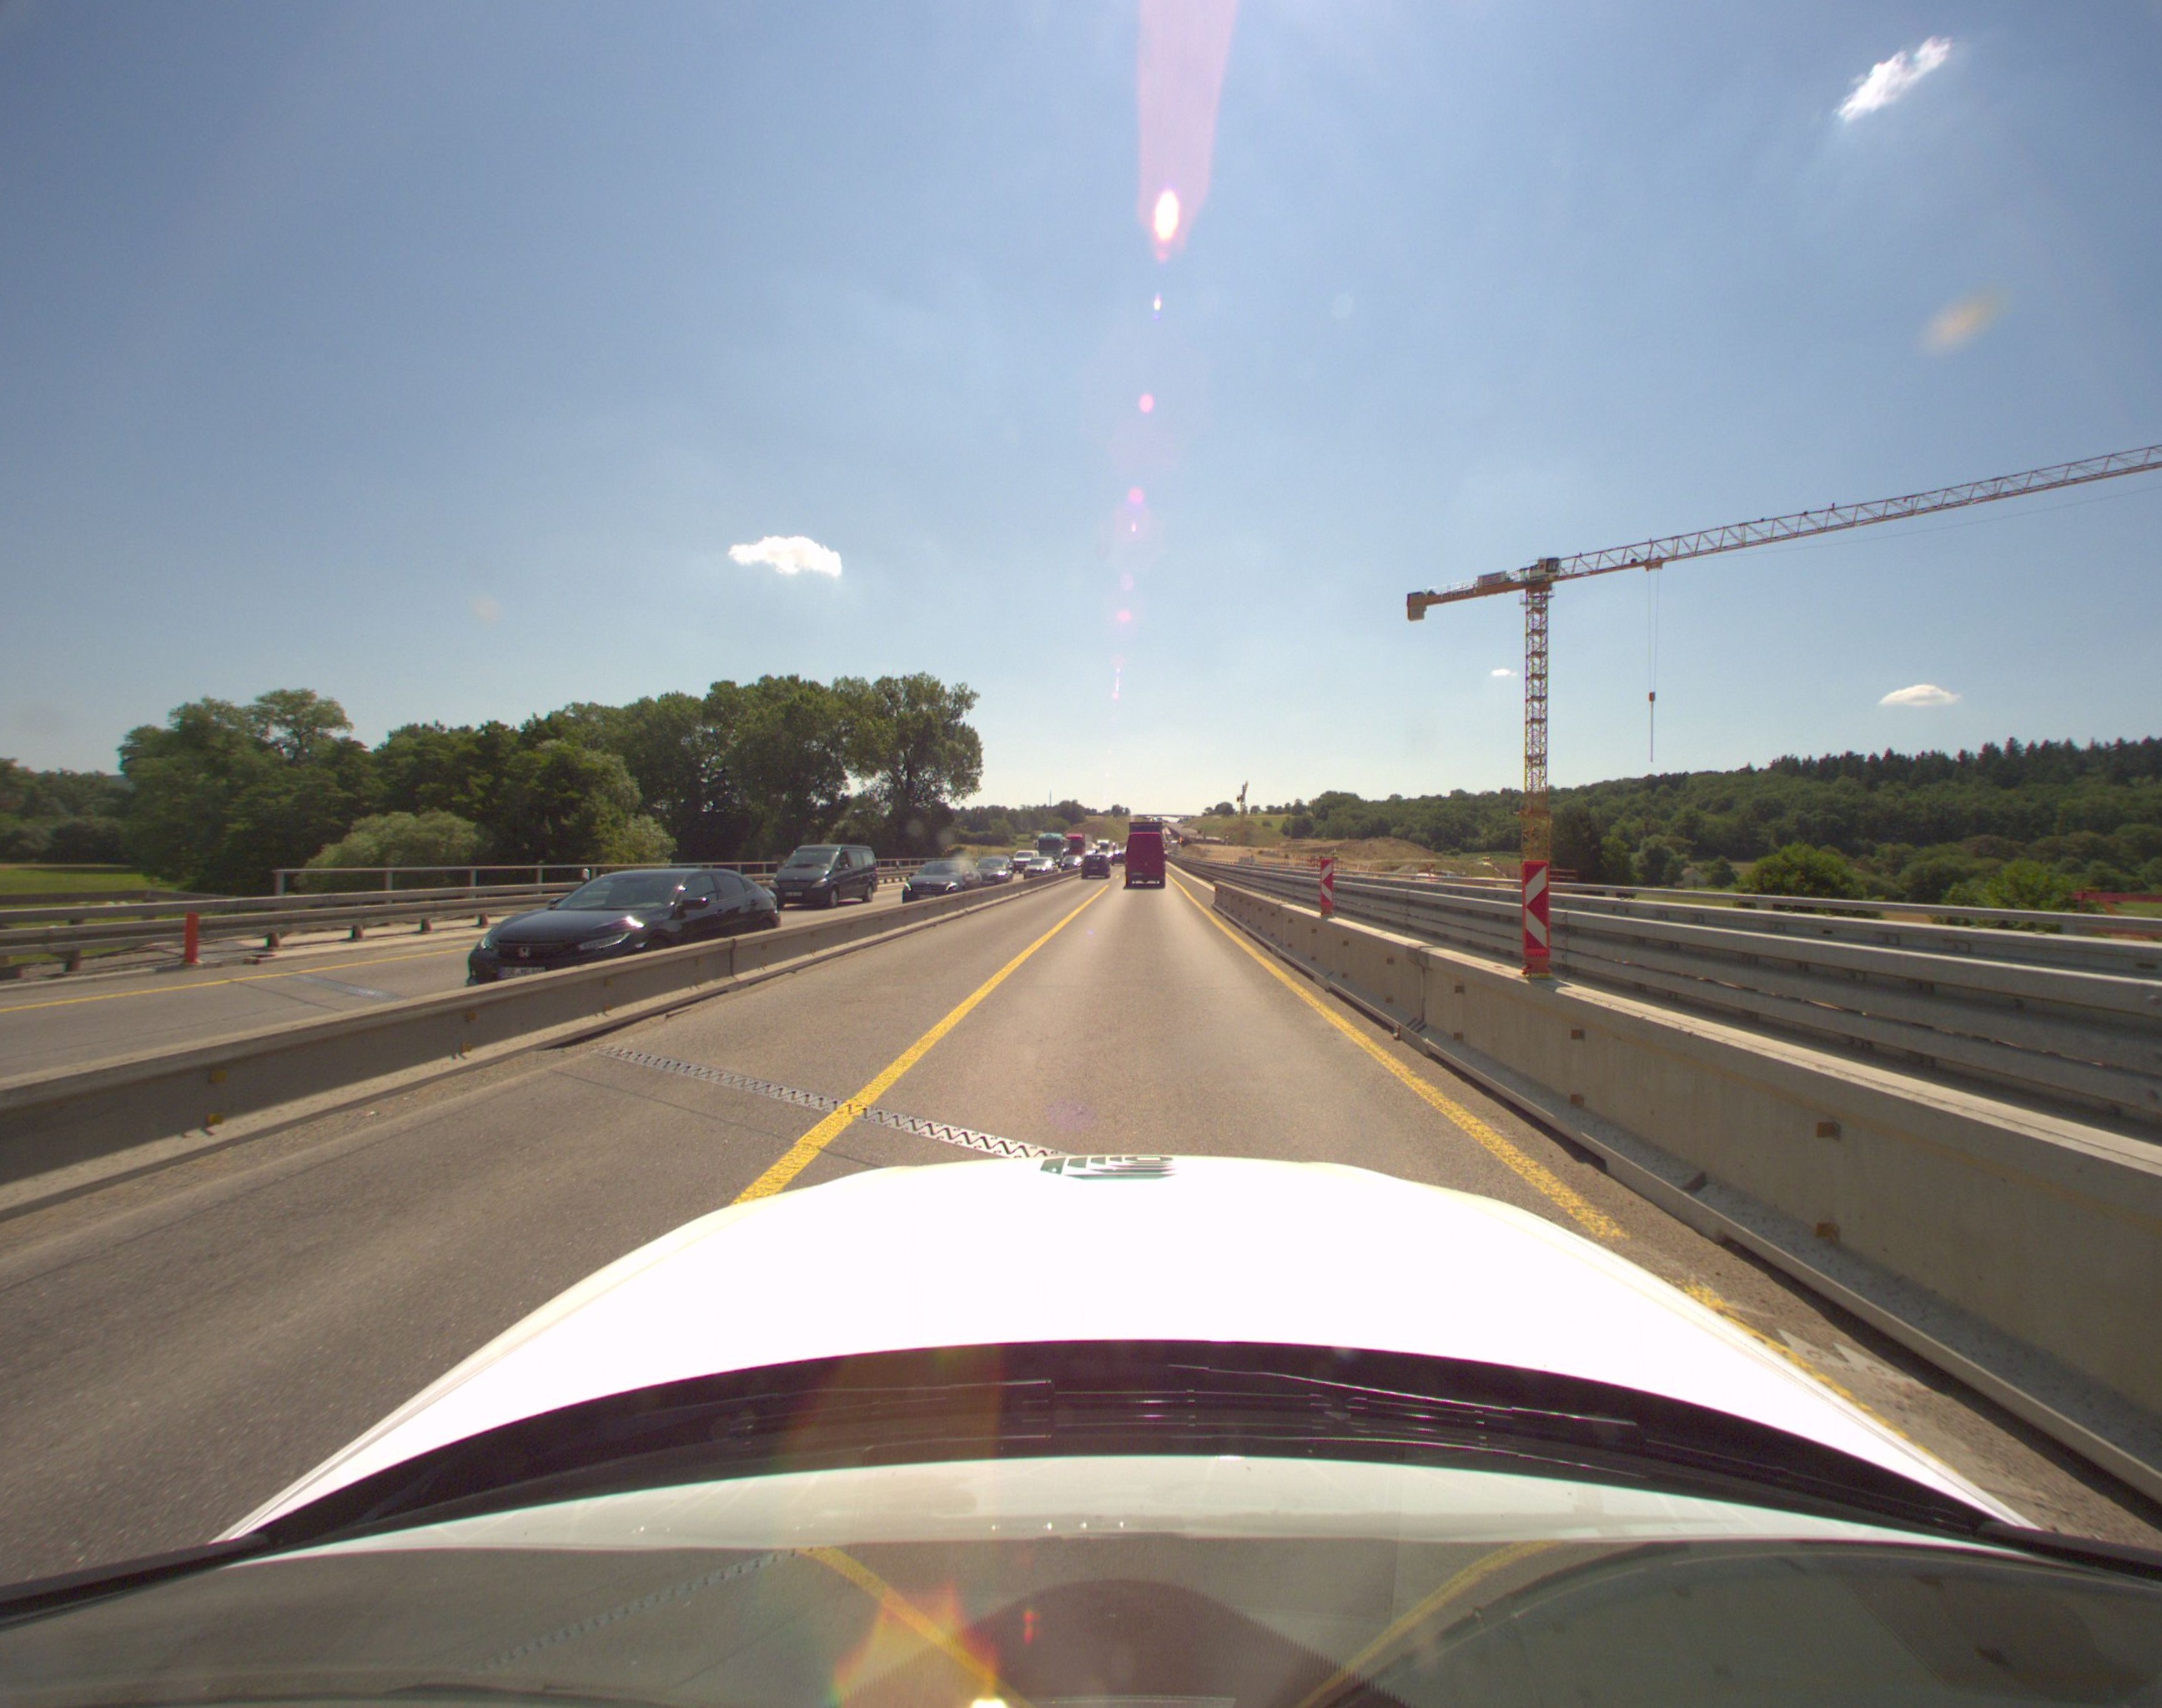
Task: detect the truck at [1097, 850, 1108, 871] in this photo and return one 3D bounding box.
[{"bbox_3d":[4.474,1.426,166.680,1.985,4.007,6.487,0,-4,4],"label":"truck"}]

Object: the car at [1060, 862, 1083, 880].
[{"bbox_3d":[-0.827,1.464,72.815,1.813,1.496,4.137,1,0,3],"label":"car"}]

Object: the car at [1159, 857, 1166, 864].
[{"bbox_3d":[21.938,1.674,220.185,1.611,1.836,3.892,1,-1,3],"label":"car"}]

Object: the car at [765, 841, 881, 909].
[{"bbox_3d":[-8.075,0.616,26.067,1.812,1.943,5.068,1,0,3],"label":"car"}]

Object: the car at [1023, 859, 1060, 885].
[{"bbox_3d":[-2.404,1.081,50.225,1.813,1.496,4.137,1,0,3],"label":"car"}]

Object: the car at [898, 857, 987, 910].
[{"bbox_3d":[-4.262,0.851,25.751,1.749,1.496,4.444,1,0,4],"label":"car"}]

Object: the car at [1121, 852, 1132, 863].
[{"bbox_3d":[7.229,0.580,128.628,1.610,1.700,3.894,1,0,4],"label":"car"}]

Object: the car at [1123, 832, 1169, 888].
[{"bbox_3d":[3.278,0.265,41.336,2.140,2.611,5.445,1,0,4],"label":"car"}]

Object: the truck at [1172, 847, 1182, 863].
[{"bbox_3d":[23.716,0.268,201.669,2.281,3.740,6.487,0,-4,4],"label":"truck"}]

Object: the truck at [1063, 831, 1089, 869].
[{"bbox_3d":[-0.591,-0.502,114.094,2.796,4.939,12.144,1,0,3],"label":"truck"}]

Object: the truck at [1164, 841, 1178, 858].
[{"bbox_3d":[17.157,-0.805,155.815,2.281,3.196,6.488,0,0,3],"label":"truck"}]

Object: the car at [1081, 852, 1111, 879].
[{"bbox_3d":[1.036,0.754,54.635,1.726,1.635,4.396,1,1,5],"label":"car"}]

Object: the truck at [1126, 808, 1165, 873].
[{"bbox_3d":[5.155,-1.014,66.018,2.933,4.946,6.746,0,0,3],"label":"truck"}]

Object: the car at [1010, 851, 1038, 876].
[{"bbox_3d":[-4.765,0.779,68.928,1.986,2.014,4.001,0,0,1],"label":"car"}]

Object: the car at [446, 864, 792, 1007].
[{"bbox_3d":[-5.481,0.849,10.475,1.661,1.365,4.444,1,0,4],"label":"car"}]

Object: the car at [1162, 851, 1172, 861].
[{"bbox_3d":[14.382,0.335,136.142,1.610,1.700,3.894,1,0,4],"label":"car"}]

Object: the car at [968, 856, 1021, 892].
[{"bbox_3d":[-3.841,0.859,36.812,1.718,1.496,4.137,1,0,3],"label":"car"}]

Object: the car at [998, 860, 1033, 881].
[{"bbox_3d":[-4.837,1.196,60.688,1.812,1.496,5.177,1,0,3],"label":"car"}]

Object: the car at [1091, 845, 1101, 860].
[{"bbox_3d":[2.655,-0.208,143.298,1.610,2.602,3.894,1,0,4],"label":"car"}]

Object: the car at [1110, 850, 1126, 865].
[{"bbox_3d":[4.444,0.440,98.020,1.813,1.697,4.137,1,0,3],"label":"car"}]

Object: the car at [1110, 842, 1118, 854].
[{"bbox_3d":[7.801,-1.475,193.393,1.610,2.602,3.893,1,-1,4],"label":"car"}]

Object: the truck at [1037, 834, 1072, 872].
[{"bbox_3d":[-2.881,-0.124,91.635,2.796,3.964,12.144,1,0,3],"label":"truck"}]
